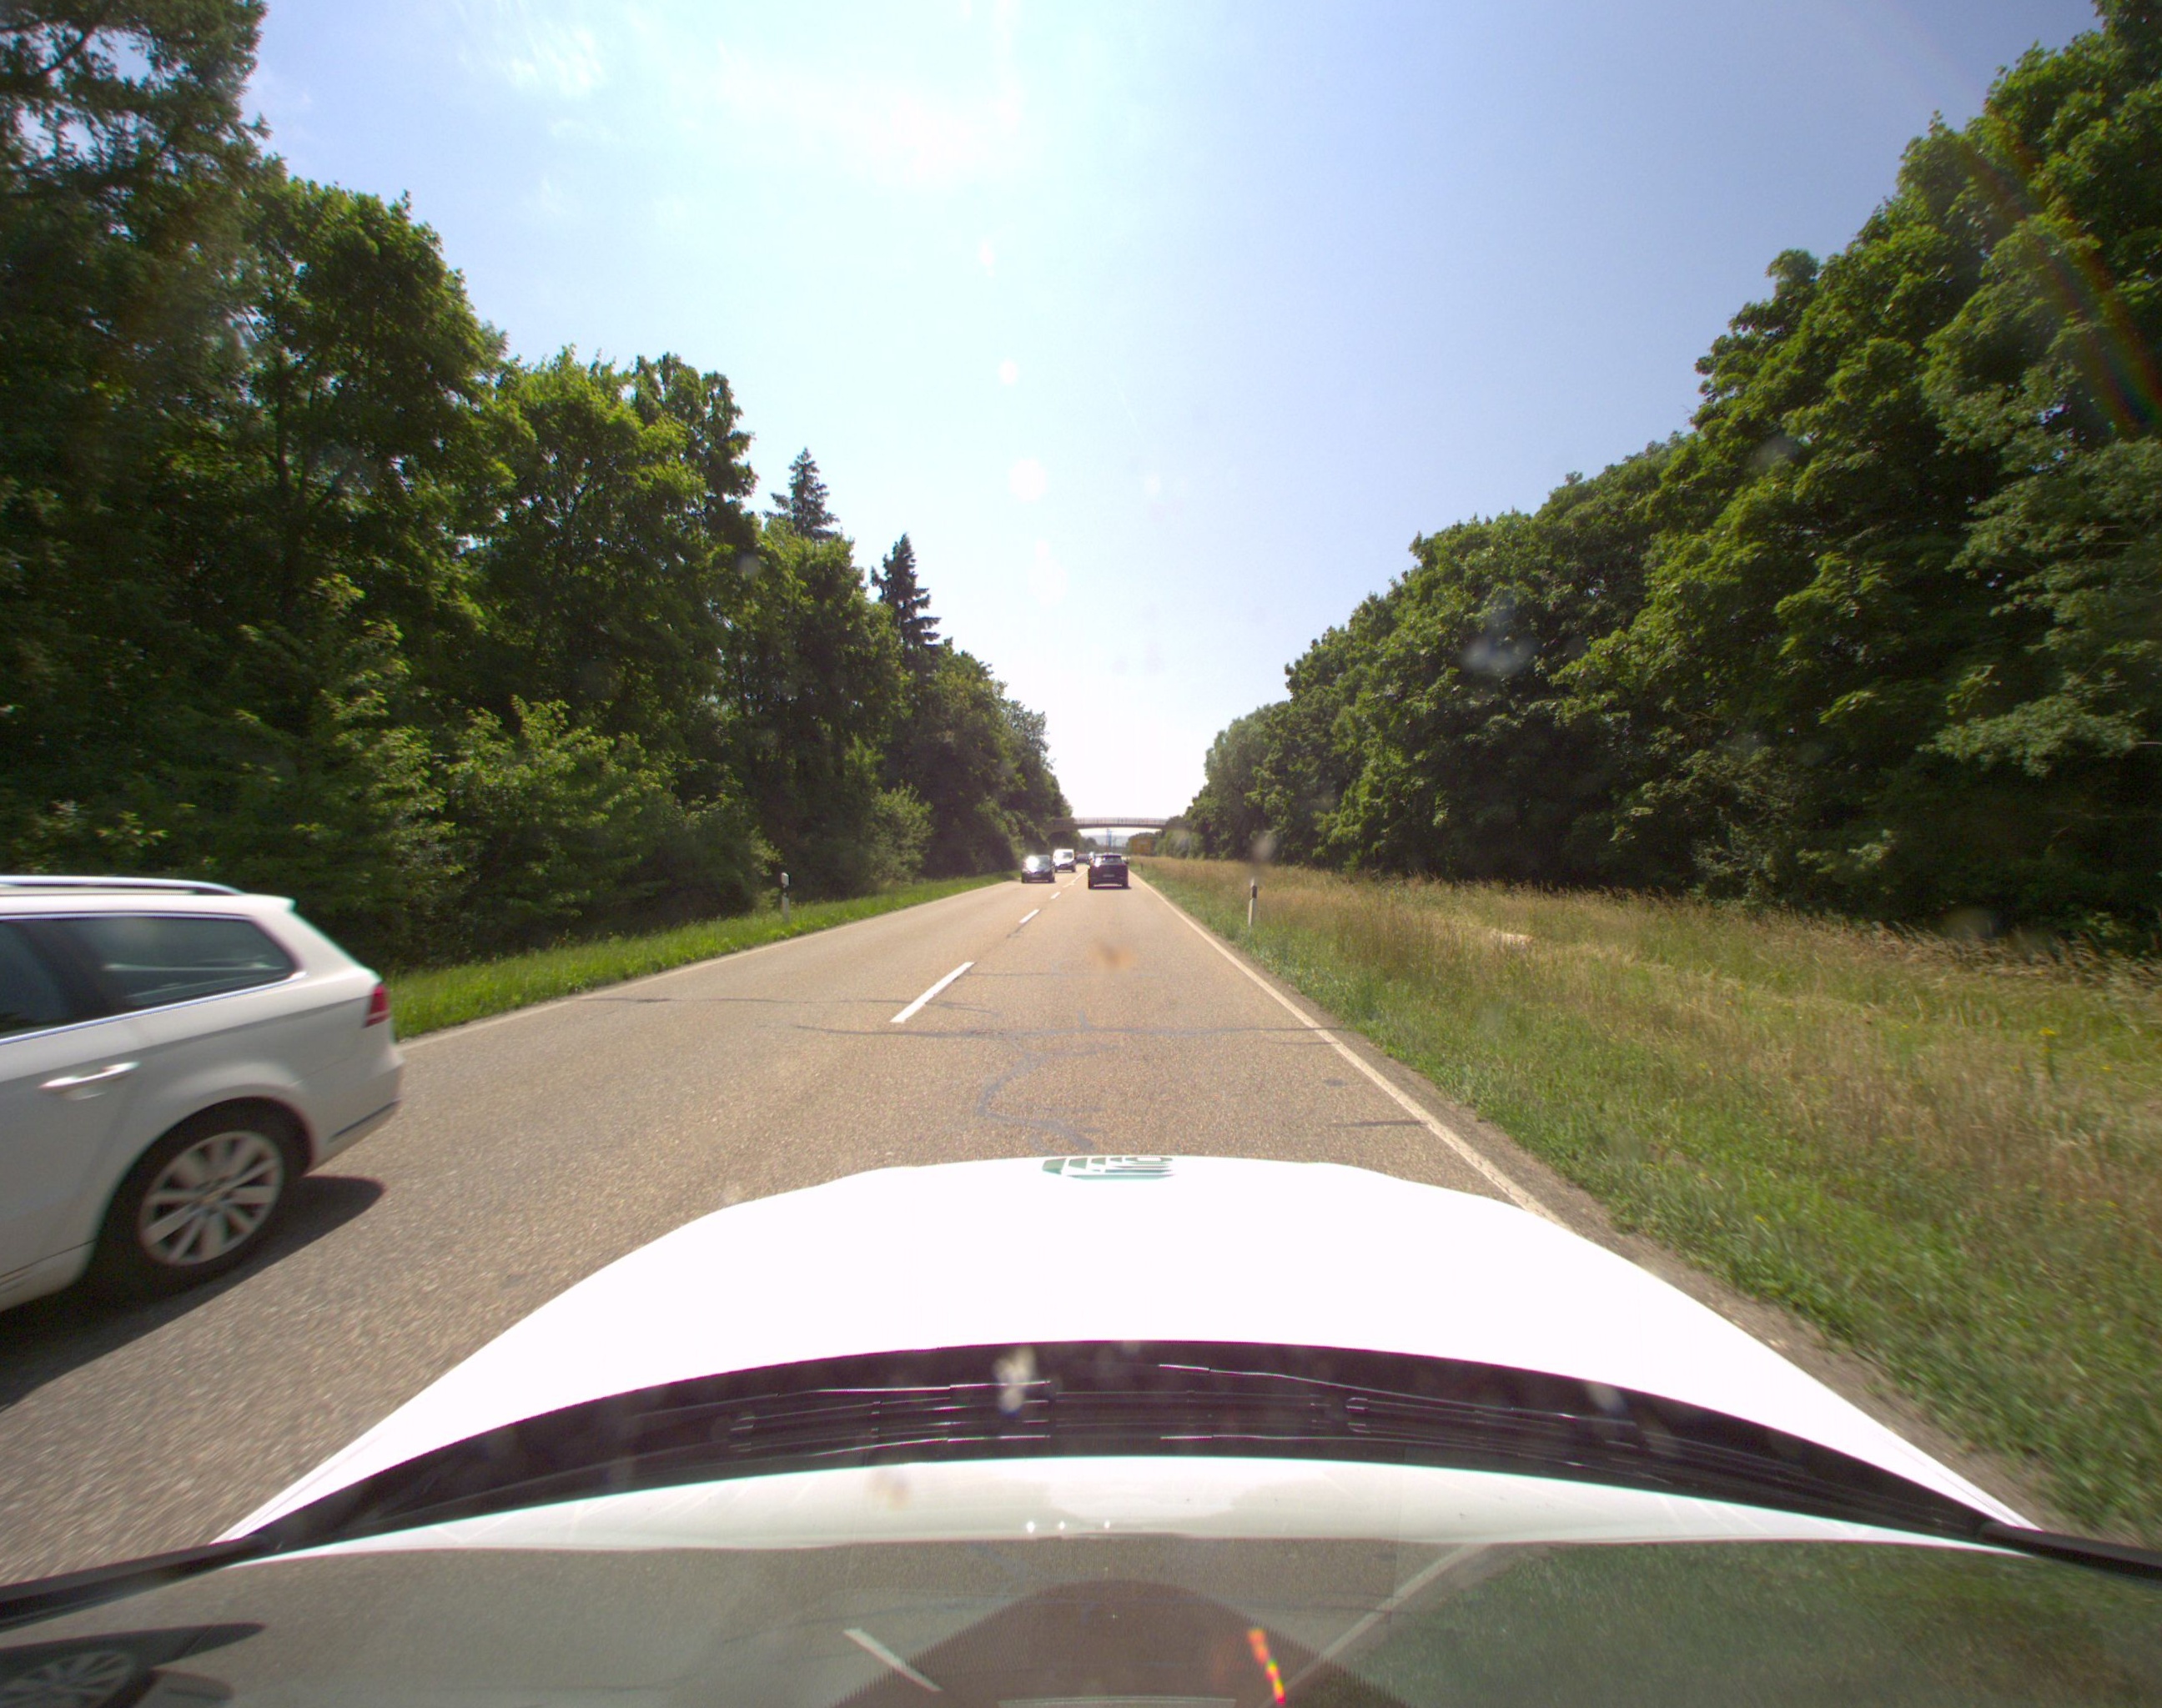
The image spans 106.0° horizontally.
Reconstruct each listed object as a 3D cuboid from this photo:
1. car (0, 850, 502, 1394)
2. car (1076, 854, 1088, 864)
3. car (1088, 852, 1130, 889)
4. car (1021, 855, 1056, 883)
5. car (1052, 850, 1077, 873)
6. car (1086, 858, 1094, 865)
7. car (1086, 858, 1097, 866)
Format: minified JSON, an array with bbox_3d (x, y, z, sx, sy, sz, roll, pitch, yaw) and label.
[{"bbox_3d":[-3.990,0.769,1.914,1.832,1.536,4.659,-1,0,1],"label":"car"},{"bbox_3d":[0.170,0.821,125.653,1.676,1.493,4.002,-1,0,2],"label":"car"},{"bbox_3d":[1.300,0.719,36.711,1.748,1.556,4.003,1,0,3],"label":"car"},{"bbox_3d":[-2.305,0.800,44.908,1.666,1.518,4.001,0,0,1],"label":"car"},{"bbox_3d":[-1.338,0.623,69.411,1.868,1.929,4.989,0,0,2],"label":"car"},{"bbox_3d":[2.107,1.621,183.504,1.670,1.433,3.775,-2,0,3],"label":"car"},{"bbox_3d":[2.007,1.486,151.848,1.776,1.449,4.113,-1,0,3],"label":"car"}]
